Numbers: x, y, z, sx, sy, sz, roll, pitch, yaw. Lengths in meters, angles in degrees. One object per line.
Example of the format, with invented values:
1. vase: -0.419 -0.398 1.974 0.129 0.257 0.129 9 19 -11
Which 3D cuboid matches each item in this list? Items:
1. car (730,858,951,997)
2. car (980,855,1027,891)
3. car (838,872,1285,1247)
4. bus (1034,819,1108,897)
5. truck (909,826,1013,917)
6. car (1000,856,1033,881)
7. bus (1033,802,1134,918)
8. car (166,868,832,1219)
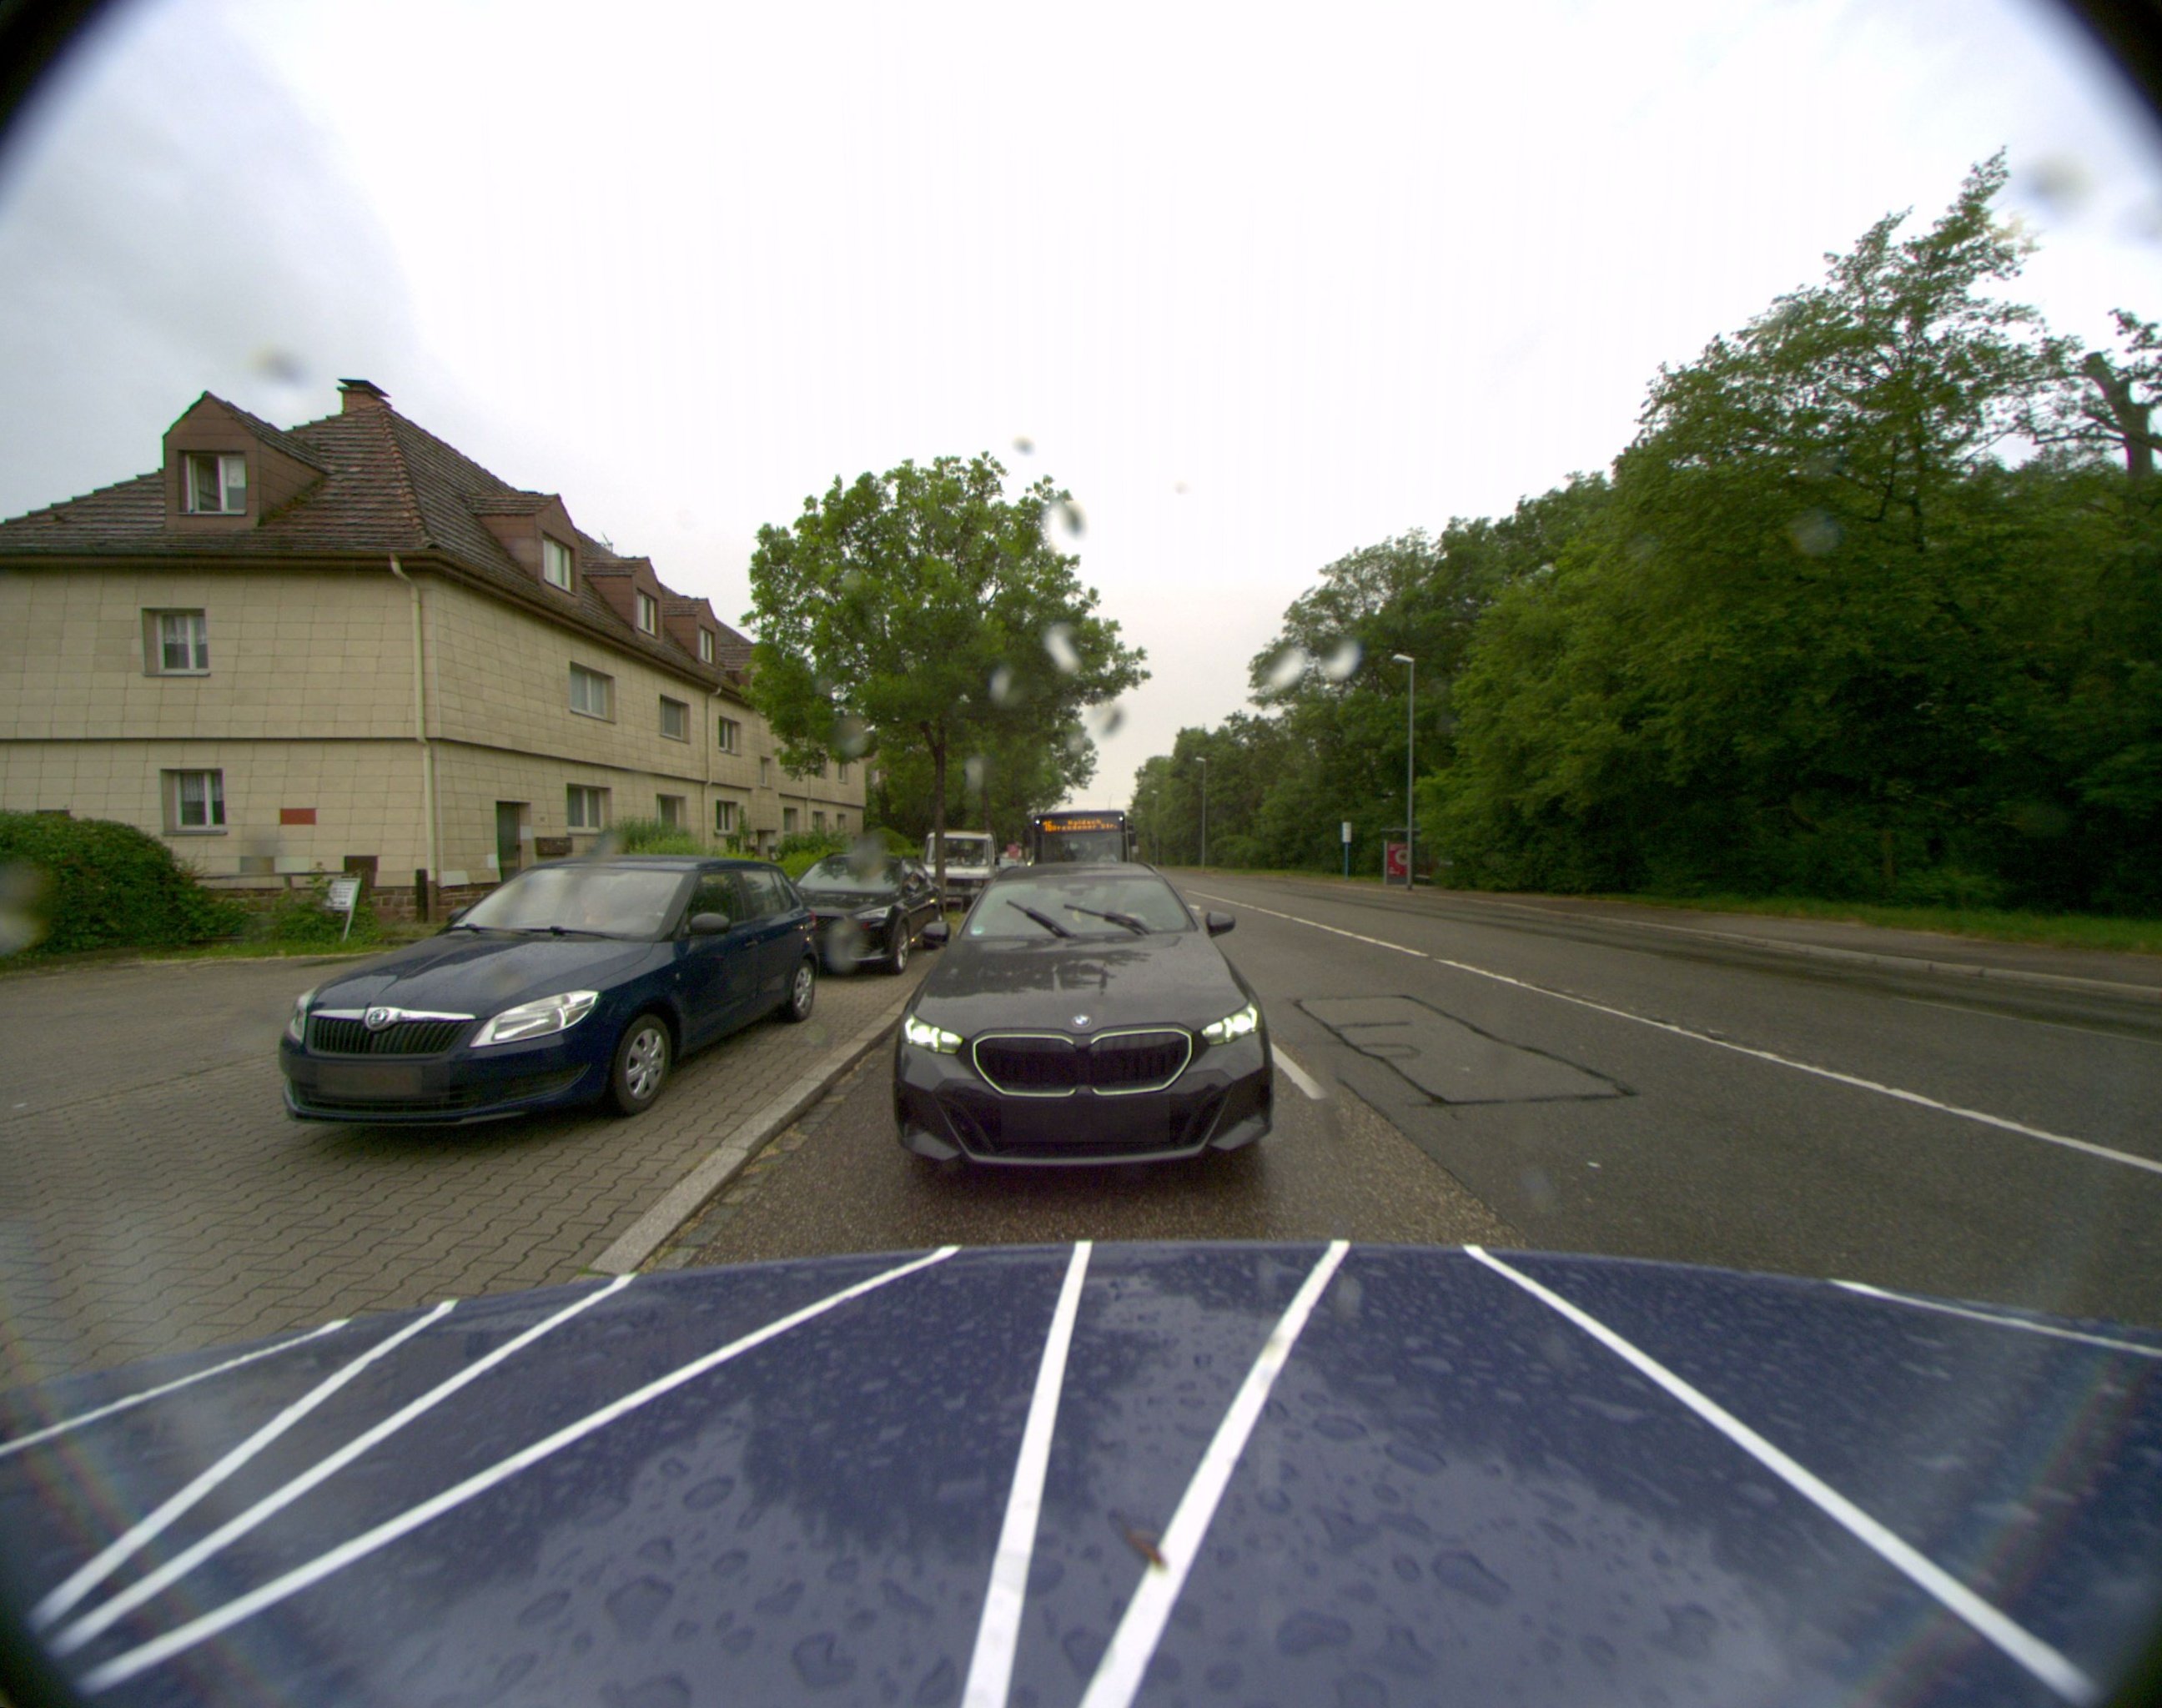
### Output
1. car: -3.058 0.835 10.631 1.718 1.490 4.183 2 0 0
2. car: -3.341 0.879 33.411 1.605 1.427 4.023 3 -3 0
3. car: -0.093 0.921 5.462 1.855 1.461 4.483 -1 0 0
4. bus: -0.635 0.163 33.291 2.563 2.942 8.553 -1 0 -5
5. truck: -3.279 0.445 22.264 2.085 2.208 6.500 2 0 -1
6. car: -3.942 0.867 47.091 1.692 1.381 4.499 1 0 -1
7. bus: -0.102 0.158 24.421 2.563 2.942 9.447 -1 0 -2
8. car: -3.222 0.876 5.297 1.608 1.463 3.856 1 0 1
